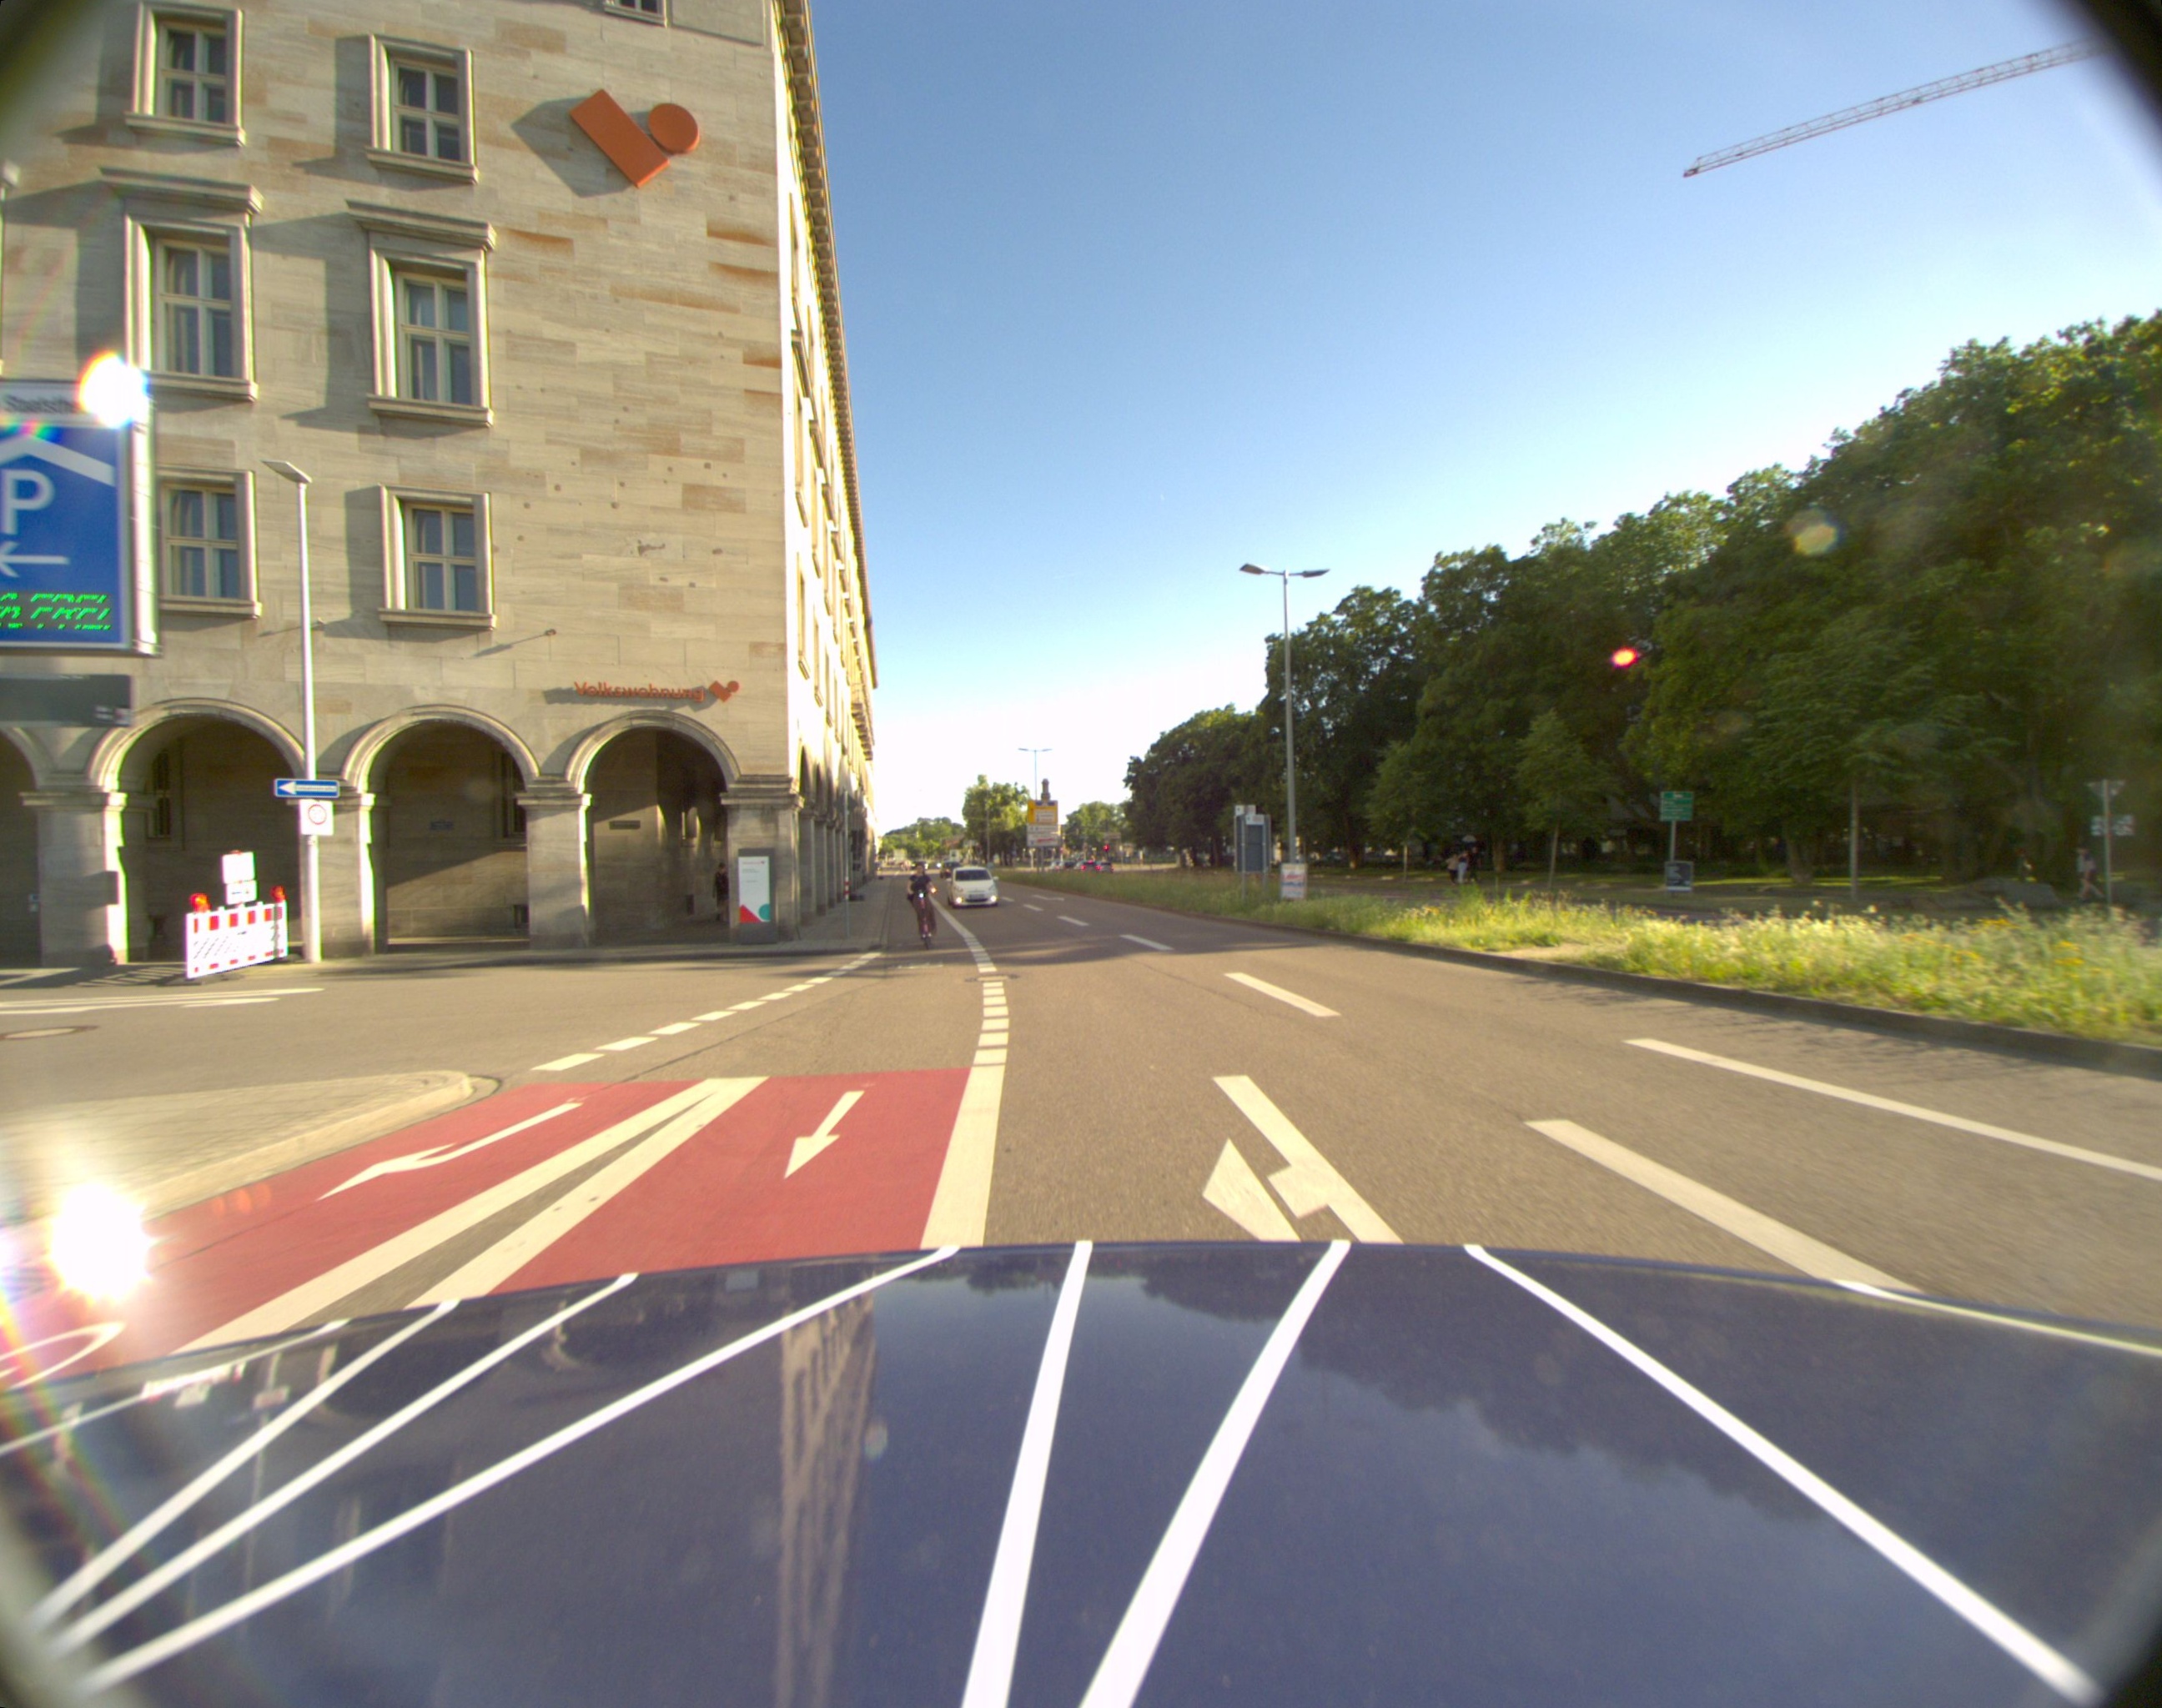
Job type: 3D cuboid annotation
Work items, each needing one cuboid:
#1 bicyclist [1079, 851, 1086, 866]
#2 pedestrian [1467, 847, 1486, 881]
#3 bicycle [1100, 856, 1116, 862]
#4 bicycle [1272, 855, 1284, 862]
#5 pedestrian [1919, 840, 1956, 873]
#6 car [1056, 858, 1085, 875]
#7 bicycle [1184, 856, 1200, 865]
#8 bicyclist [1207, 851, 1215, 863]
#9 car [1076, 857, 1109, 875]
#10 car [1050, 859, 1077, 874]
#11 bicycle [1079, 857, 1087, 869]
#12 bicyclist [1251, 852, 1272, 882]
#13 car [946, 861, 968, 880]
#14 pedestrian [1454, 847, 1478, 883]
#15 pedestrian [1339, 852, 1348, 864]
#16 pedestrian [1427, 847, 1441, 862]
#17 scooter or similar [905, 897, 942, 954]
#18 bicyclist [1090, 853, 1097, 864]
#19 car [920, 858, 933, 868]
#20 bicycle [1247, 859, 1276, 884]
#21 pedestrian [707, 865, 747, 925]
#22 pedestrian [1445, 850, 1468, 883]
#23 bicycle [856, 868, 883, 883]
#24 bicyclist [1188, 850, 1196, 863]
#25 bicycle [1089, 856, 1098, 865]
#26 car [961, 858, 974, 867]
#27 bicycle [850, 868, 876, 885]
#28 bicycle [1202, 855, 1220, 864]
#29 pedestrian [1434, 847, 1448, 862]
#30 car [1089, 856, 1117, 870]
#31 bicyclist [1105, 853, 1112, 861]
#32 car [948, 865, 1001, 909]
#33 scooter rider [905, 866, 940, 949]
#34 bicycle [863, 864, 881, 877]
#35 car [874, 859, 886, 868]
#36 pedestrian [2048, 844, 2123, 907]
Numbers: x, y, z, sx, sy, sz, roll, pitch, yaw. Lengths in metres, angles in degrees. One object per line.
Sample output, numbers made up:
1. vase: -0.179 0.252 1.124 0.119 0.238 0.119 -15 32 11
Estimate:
1. bicyclist: 0.203 0.514 84.994 0.783 1.669 0.839 0 1 1
2. pedestrian: 20.137 0.505 38.679 0.526 1.730 0.654 -1 1 -9
3. bicycle: 4.172 0.796 116.906 2.336 0.846 0.842 -1 0 -8
4. bicycle: 27.153 0.621 104.811 0.771 0.884 1.603 -1 0 -21
5. pedestrian: 40.998 0.111 36.363 0.906 1.531 0.893 -1 1 -20
6. car: -1.064 1.218 75.726 2.001 1.666 4.544 -1 0 -13
7. bicycle: 15.088 0.868 103.222 2.022 1.233 0.777 -1 2 -14
8. bicyclist: 17.768 0.390 103.794 0.926 1.681 0.774 -1 2 -13
9. car: 1.026 1.042 67.663 2.001 1.555 4.056 -1 0 -13
10. car: -1.869 1.284 81.554 2.001 1.551 4.544 -1 0 -13
11. bicycle: 0.207 1.010 85.049 0.777 1.232 2.249 -1 0 2
12. bicyclist: 10.061 0.715 42.388 0.749 1.581 1.200 0 2 -11
13. car: -11.717 1.522 71.757 1.735 1.629 3.996 -3 1 -12
14. pedestrian: 19.381 0.547 38.238 0.774 1.730 0.760 -1 1 -9
15. pedestrian: 29.404 0.465 85.194 0.734 1.332 0.599 -1 1 -10
16. pedestrian: 32.790 0.052 70.597 0.909 1.332 0.664 -1 1 -10
17. scooter or similar: -3.197 1.422 15.392 0.557 1.025 1.115 -1 0 -20
18. bicyclist: 1.818 0.670 110.863 0.850 1.610 0.974 -1 1 16
19. car: -26.024 1.509 128.009 2.001 1.564 4.544 -1 0 -13
20. bicycle: 10.058 0.970 42.431 0.760 1.268 2.255 0 2 -11
21. pedestrian: -9.569 1.095 20.566 0.779 1.560 0.951 -1 0 -15
22. pedestrian: 18.843 0.630 38.118 0.745 1.631 0.725 -1 1 -9
23. bicycle: -14.682 1.491 52.697 1.716 1.044 0.526 1 0 -28
24. bicyclist: 15.119 0.339 103.218 0.839 1.734 0.753 -1 2 -13
25. bicycle: 1.838 0.956 110.906 0.845 1.223 2.017 -1 0 16
26. car: -20.109 1.493 134.671 2.001 1.564 4.544 -1 0 -13
27. bicycle: -14.566 1.498 50.724 0.610 1.044 1.717 1 0 30
28. bicycle: 17.713 0.775 103.813 2.313 1.233 0.777 -1 2 -13
29. pedestrian: 33.099 0.078 69.877 0.829 1.332 0.715 -1 0 -10
30. car: 2.388 0.959 82.444 1.940 1.517 4.582 -1 0 -12
31. bicyclist: 4.233 0.456 116.906 0.973 1.354 0.826 -1 1 -9
32. car: -4.108 1.203 28.871 1.680 1.455 3.761 -2 0 -12
33. scooter rider: -3.211 1.066 15.403 0.563 1.622 0.649 -1 1 -21
34. bicycle: -19.738 1.540 71.747 1.709 1.126 0.665 0 0 27
35. car: -38.353 1.793 144.907 2.001 1.564 4.544 -1 0 -13
36. pedestrian: 25.128 0.532 19.019 0.614 1.518 0.942 -1 0 -8
